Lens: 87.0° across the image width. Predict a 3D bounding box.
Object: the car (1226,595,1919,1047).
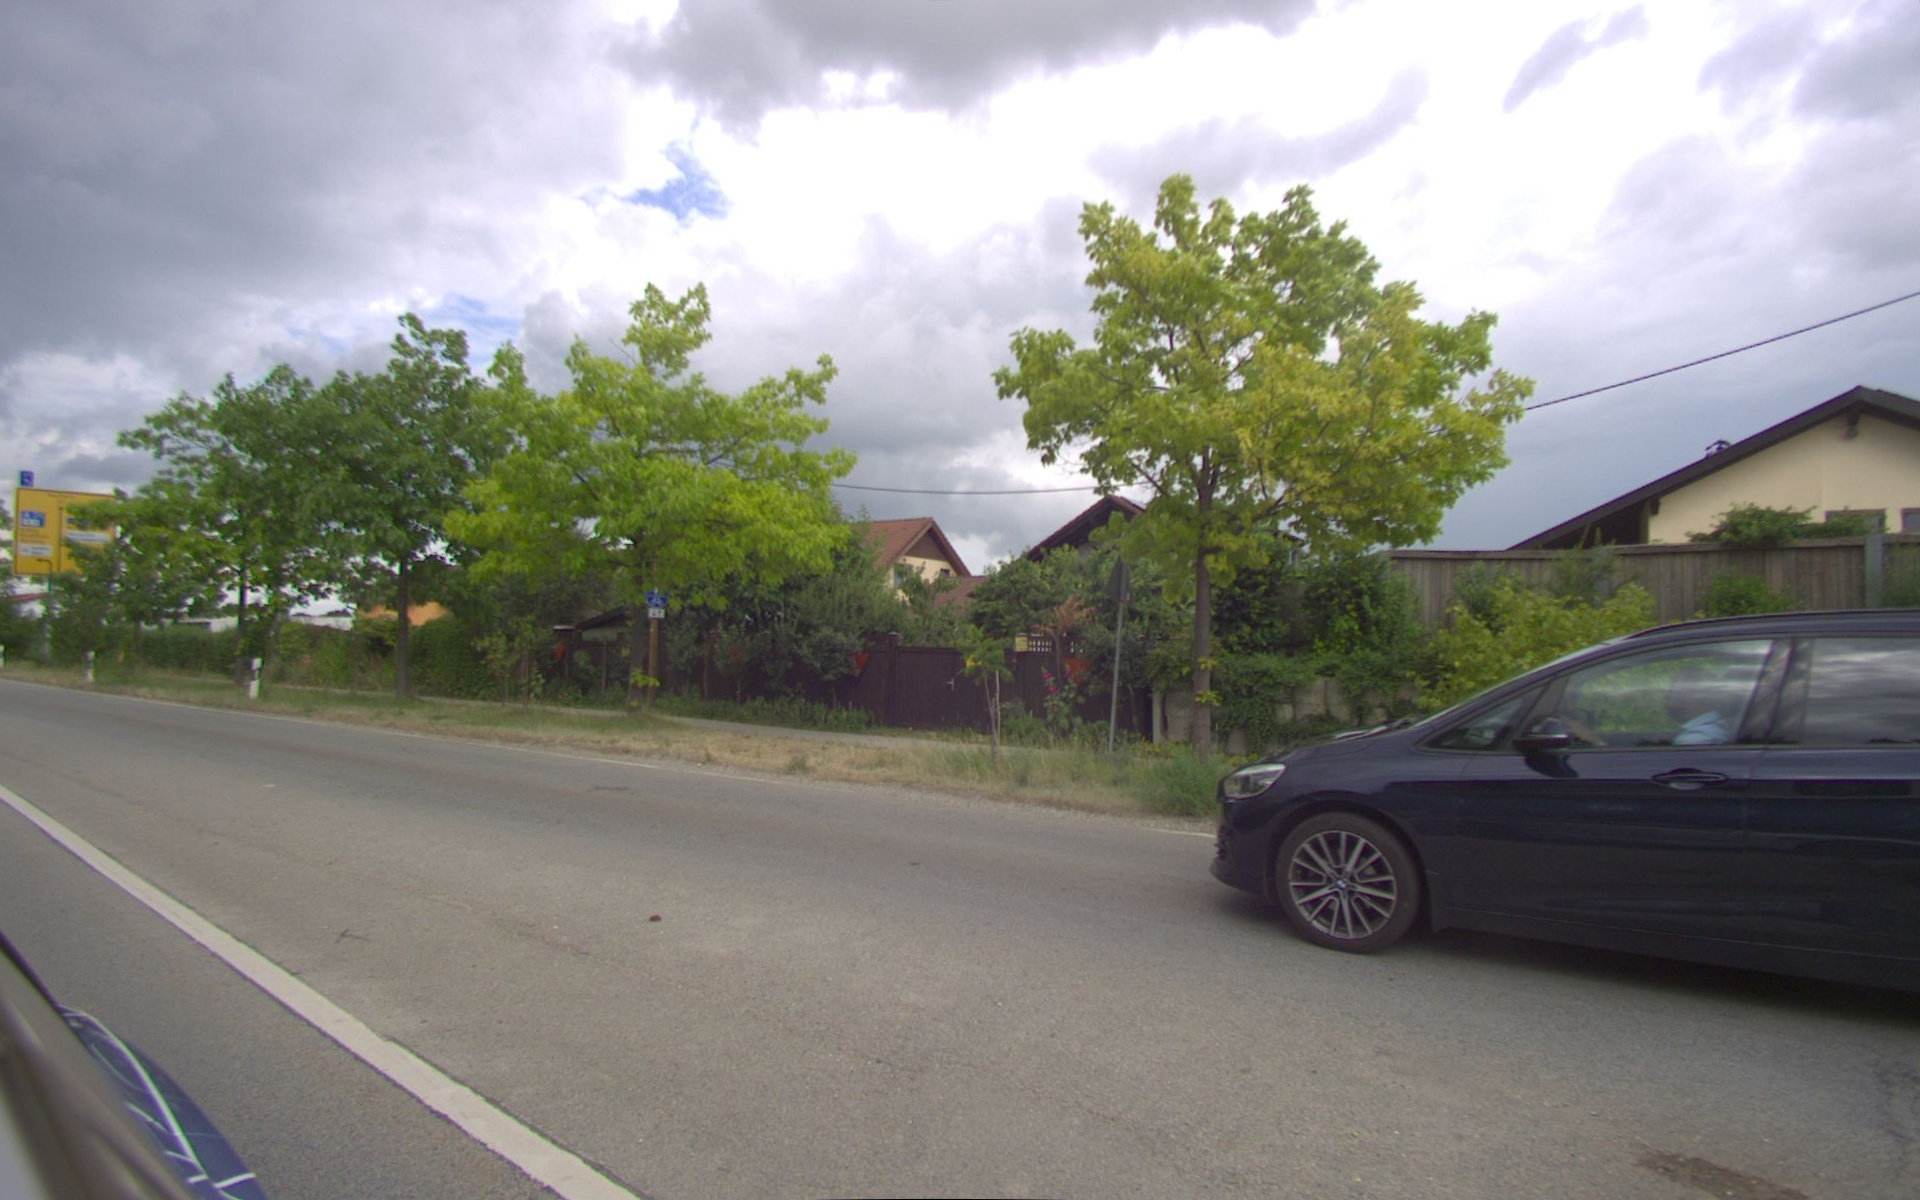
[{"bbox_3d":[3.593,0.851,4.534,4.345,1.598,1.723,-1,-5,35],"label":"car"}]
